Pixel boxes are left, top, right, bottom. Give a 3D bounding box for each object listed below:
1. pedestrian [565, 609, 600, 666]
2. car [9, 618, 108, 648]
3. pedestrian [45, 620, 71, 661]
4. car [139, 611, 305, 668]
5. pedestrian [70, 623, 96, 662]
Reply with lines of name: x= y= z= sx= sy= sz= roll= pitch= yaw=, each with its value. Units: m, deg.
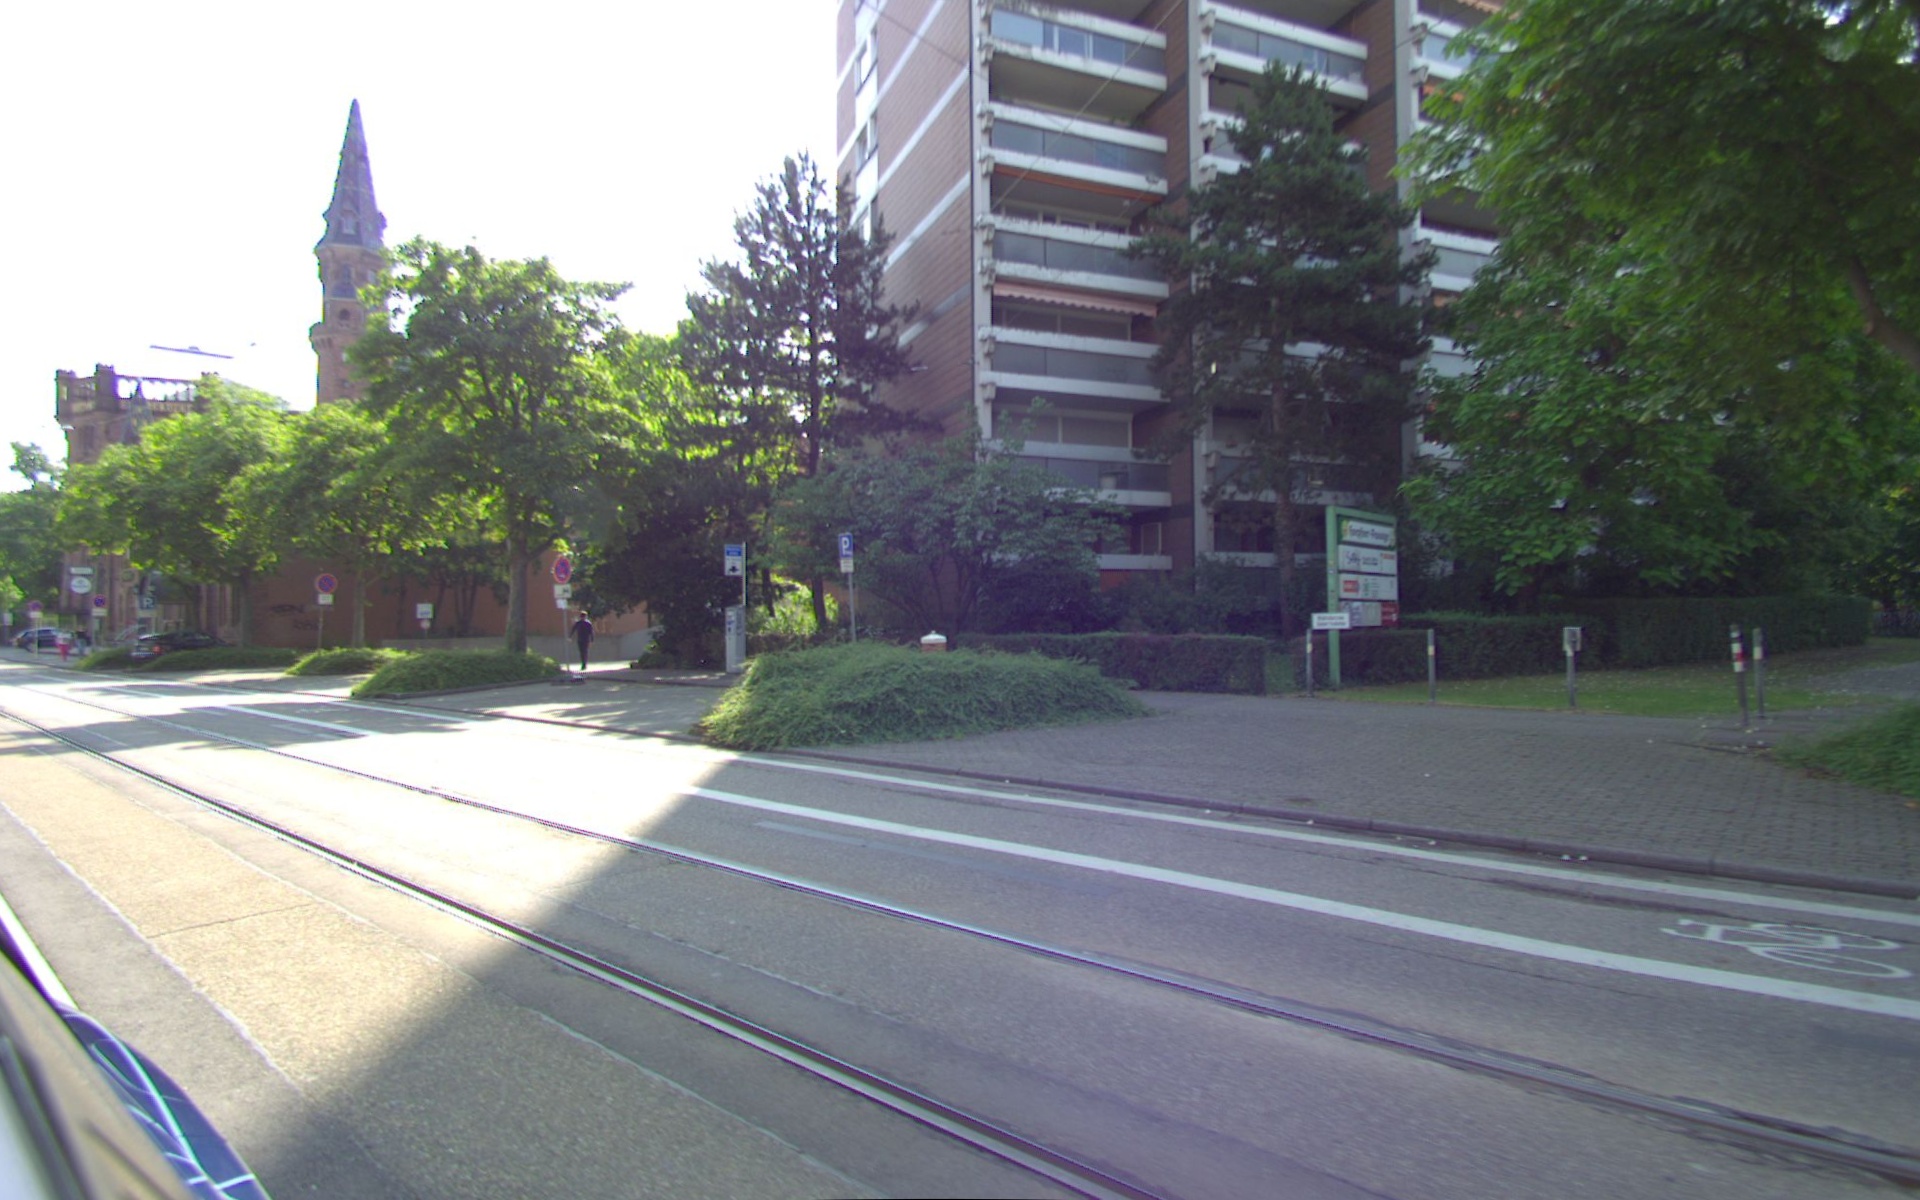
pedestrian: x=-11.142 y=1.105 z=29.885 sx=0.754 sy=1.642 sz=0.739 roll=-1 pitch=0 yaw=-40
car: x=-65.375 y=2.351 z=73.488 sx=1.998 sy=2.029 sz=5.102 roll=-1 pitch=0 yaw=38
pedestrian: x=-46.381 y=2.077 z=52.041 sx=1.057 sy=2.029 sz=0.892 roll=-1 pitch=0 yaw=44
car: x=-29.289 y=1.498 z=40.304 sx=2.001 sy=2.029 sz=5.093 roll=-1 pitch=0 yaw=45
pedestrian: x=-45.772 y=2.204 z=52.797 sx=1.057 sy=2.029 sz=0.893 roll=-1 pitch=0 yaw=42
